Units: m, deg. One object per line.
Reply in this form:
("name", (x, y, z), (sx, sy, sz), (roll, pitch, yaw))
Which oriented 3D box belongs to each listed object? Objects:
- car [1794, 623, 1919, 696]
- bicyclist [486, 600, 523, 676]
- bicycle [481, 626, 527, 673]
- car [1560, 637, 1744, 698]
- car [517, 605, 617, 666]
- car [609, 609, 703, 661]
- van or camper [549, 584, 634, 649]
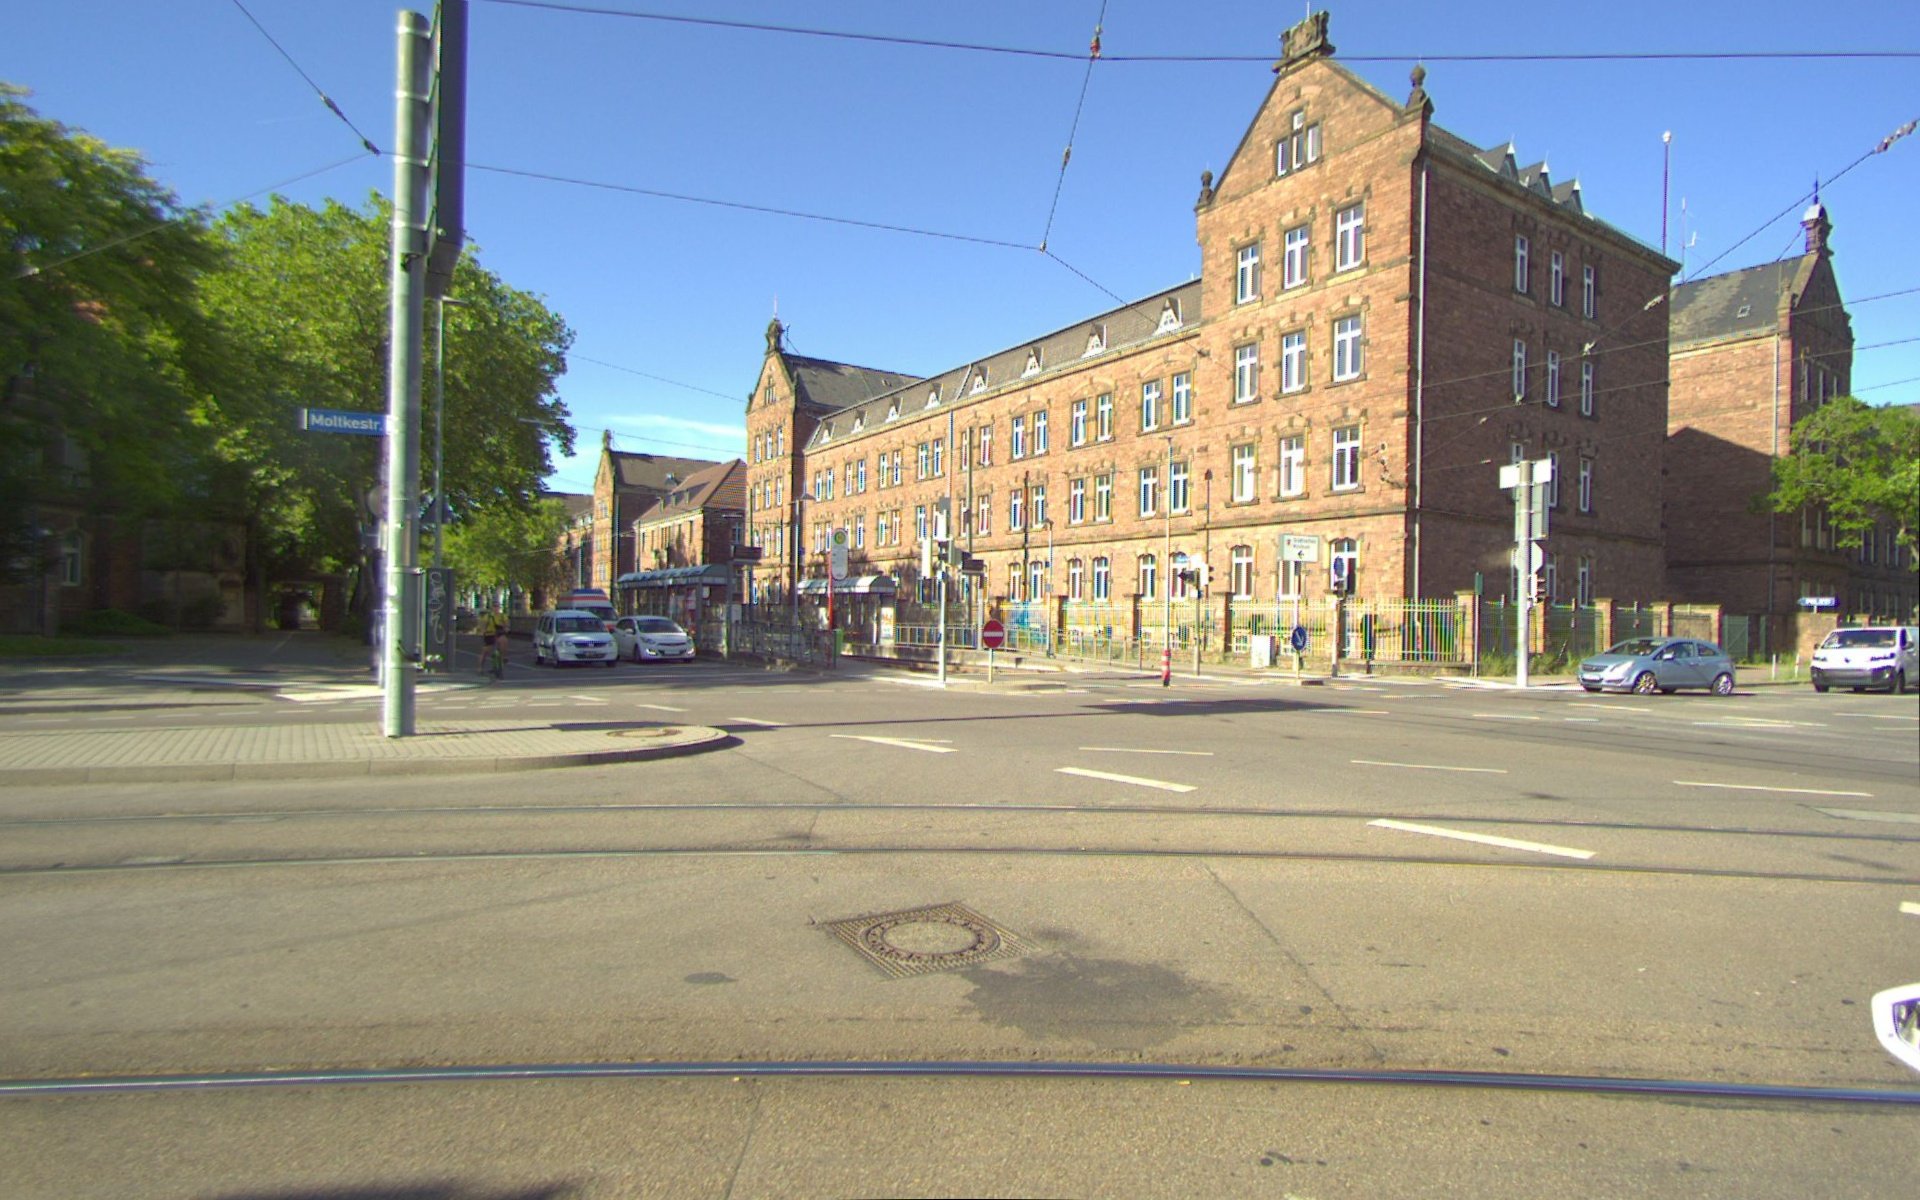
("car", (26.419, 1.676, 29.160), (5.250, 1.954, 2.144), (2, -2, -35))
("bicyclist", (-10.657, 0.893, 23.495), (0.663, 1.751, 0.617), (2, -4, -33))
("bicycle", (-10.716, 1.171, 23.576), (0.683, 1.047, 2.081), (2, -4, -33))
("car", (17.825, 1.728, 25.918), (4.046, 1.462, 1.737), (1, -2, -15))
("car", (-11.646, 1.034, 29.596), (1.892, 1.639, 4.531), (1, -2, -33))
("car", (-9.909, 1.137, 32.541), (1.963, 1.568, 4.000), (2, -2, -32))
("van or camper", (-14.651, 0.735, 39.767), (1.979, 2.391, 5.549), (2, -3, -33))
